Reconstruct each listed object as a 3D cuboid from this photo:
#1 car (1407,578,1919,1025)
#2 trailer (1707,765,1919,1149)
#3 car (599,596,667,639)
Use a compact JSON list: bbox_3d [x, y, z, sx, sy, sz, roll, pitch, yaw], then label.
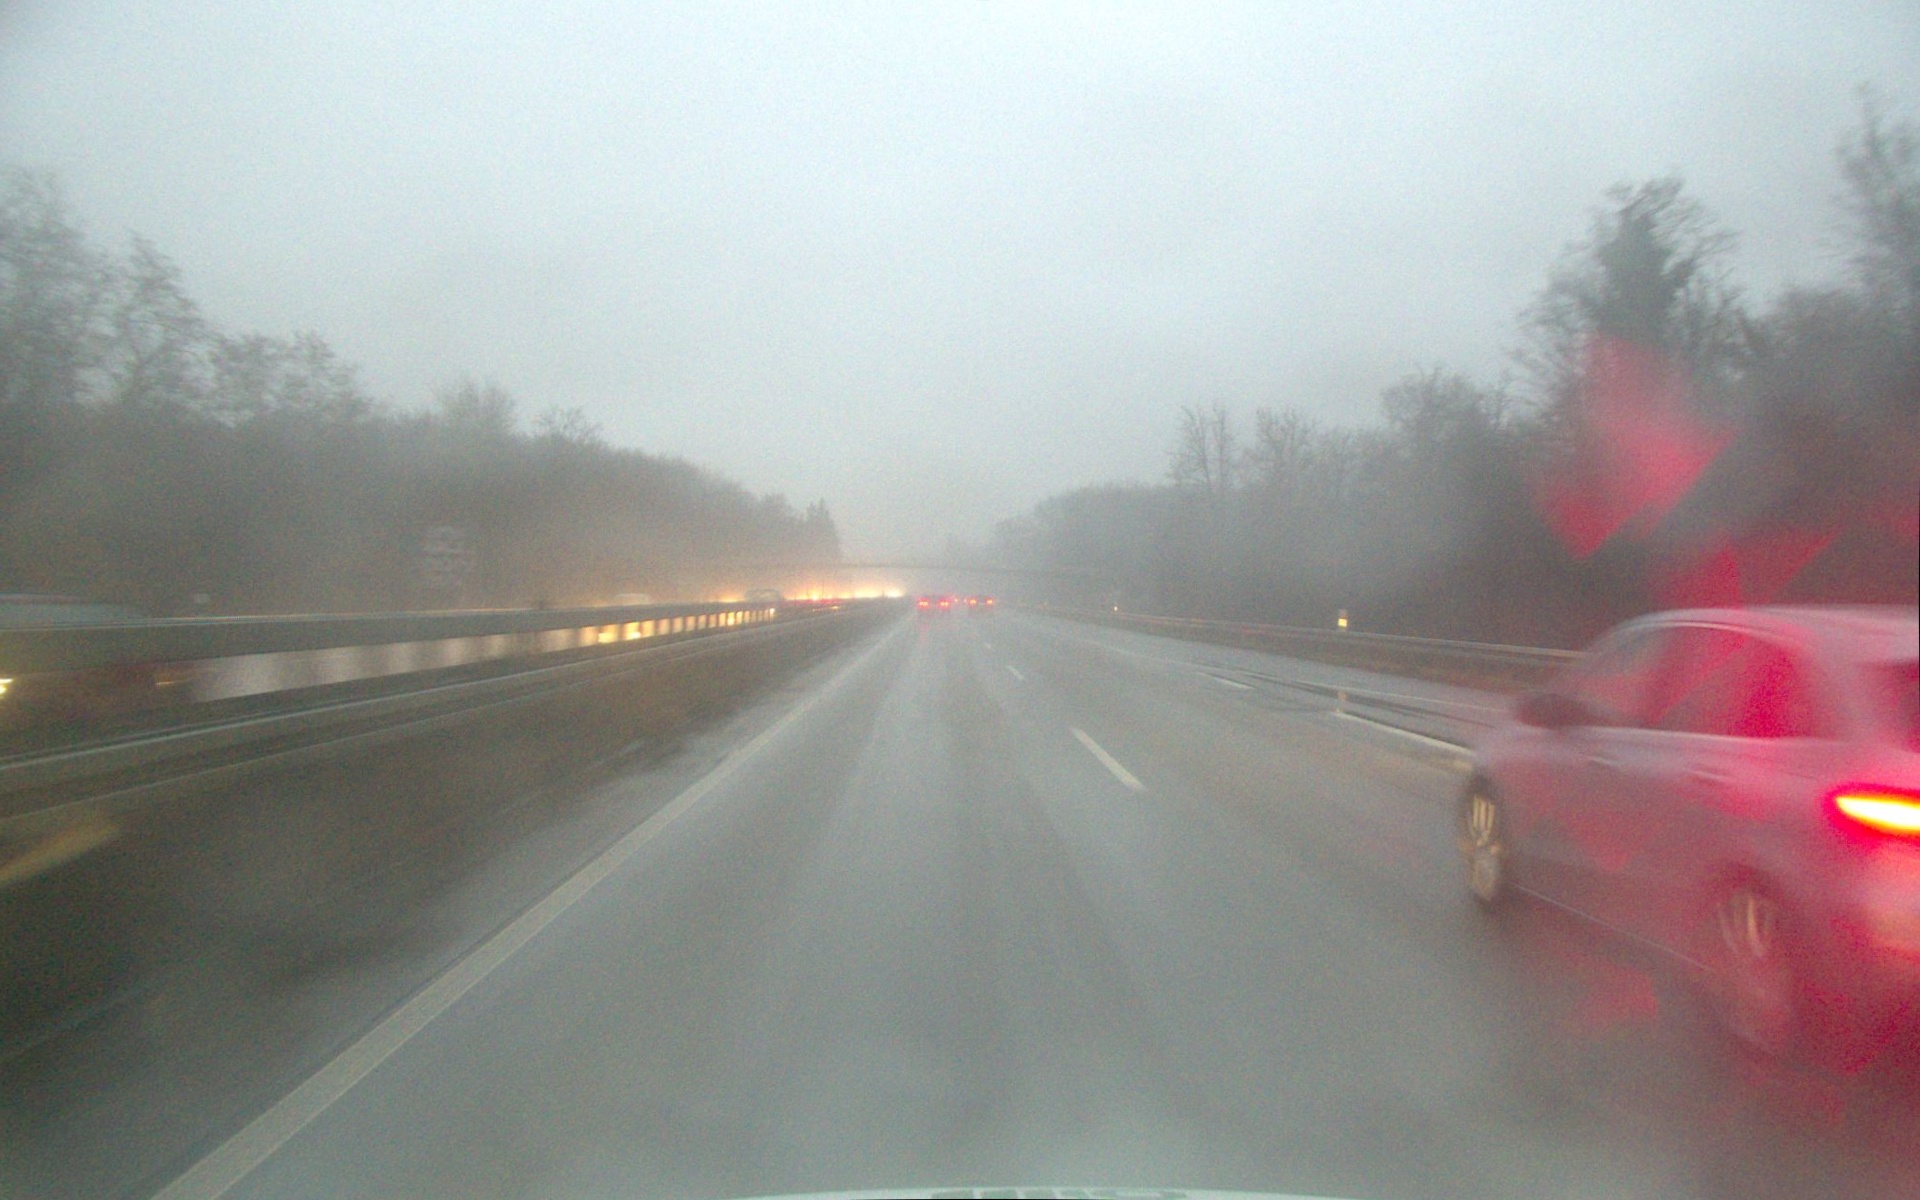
[{"bbox_3d":[3.479,0.697,7.641,1.750,1.543,3.810,0,0,-1],"label":"car"},{"bbox_3d":[3.534,1.063,4.421,1.712,0.941,2.950,0,0,-1],"label":"trailer"},{"bbox_3d":[-12.285,0.635,62.414,1.692,1.486,4.416,2,0,-1],"label":"car"}]
